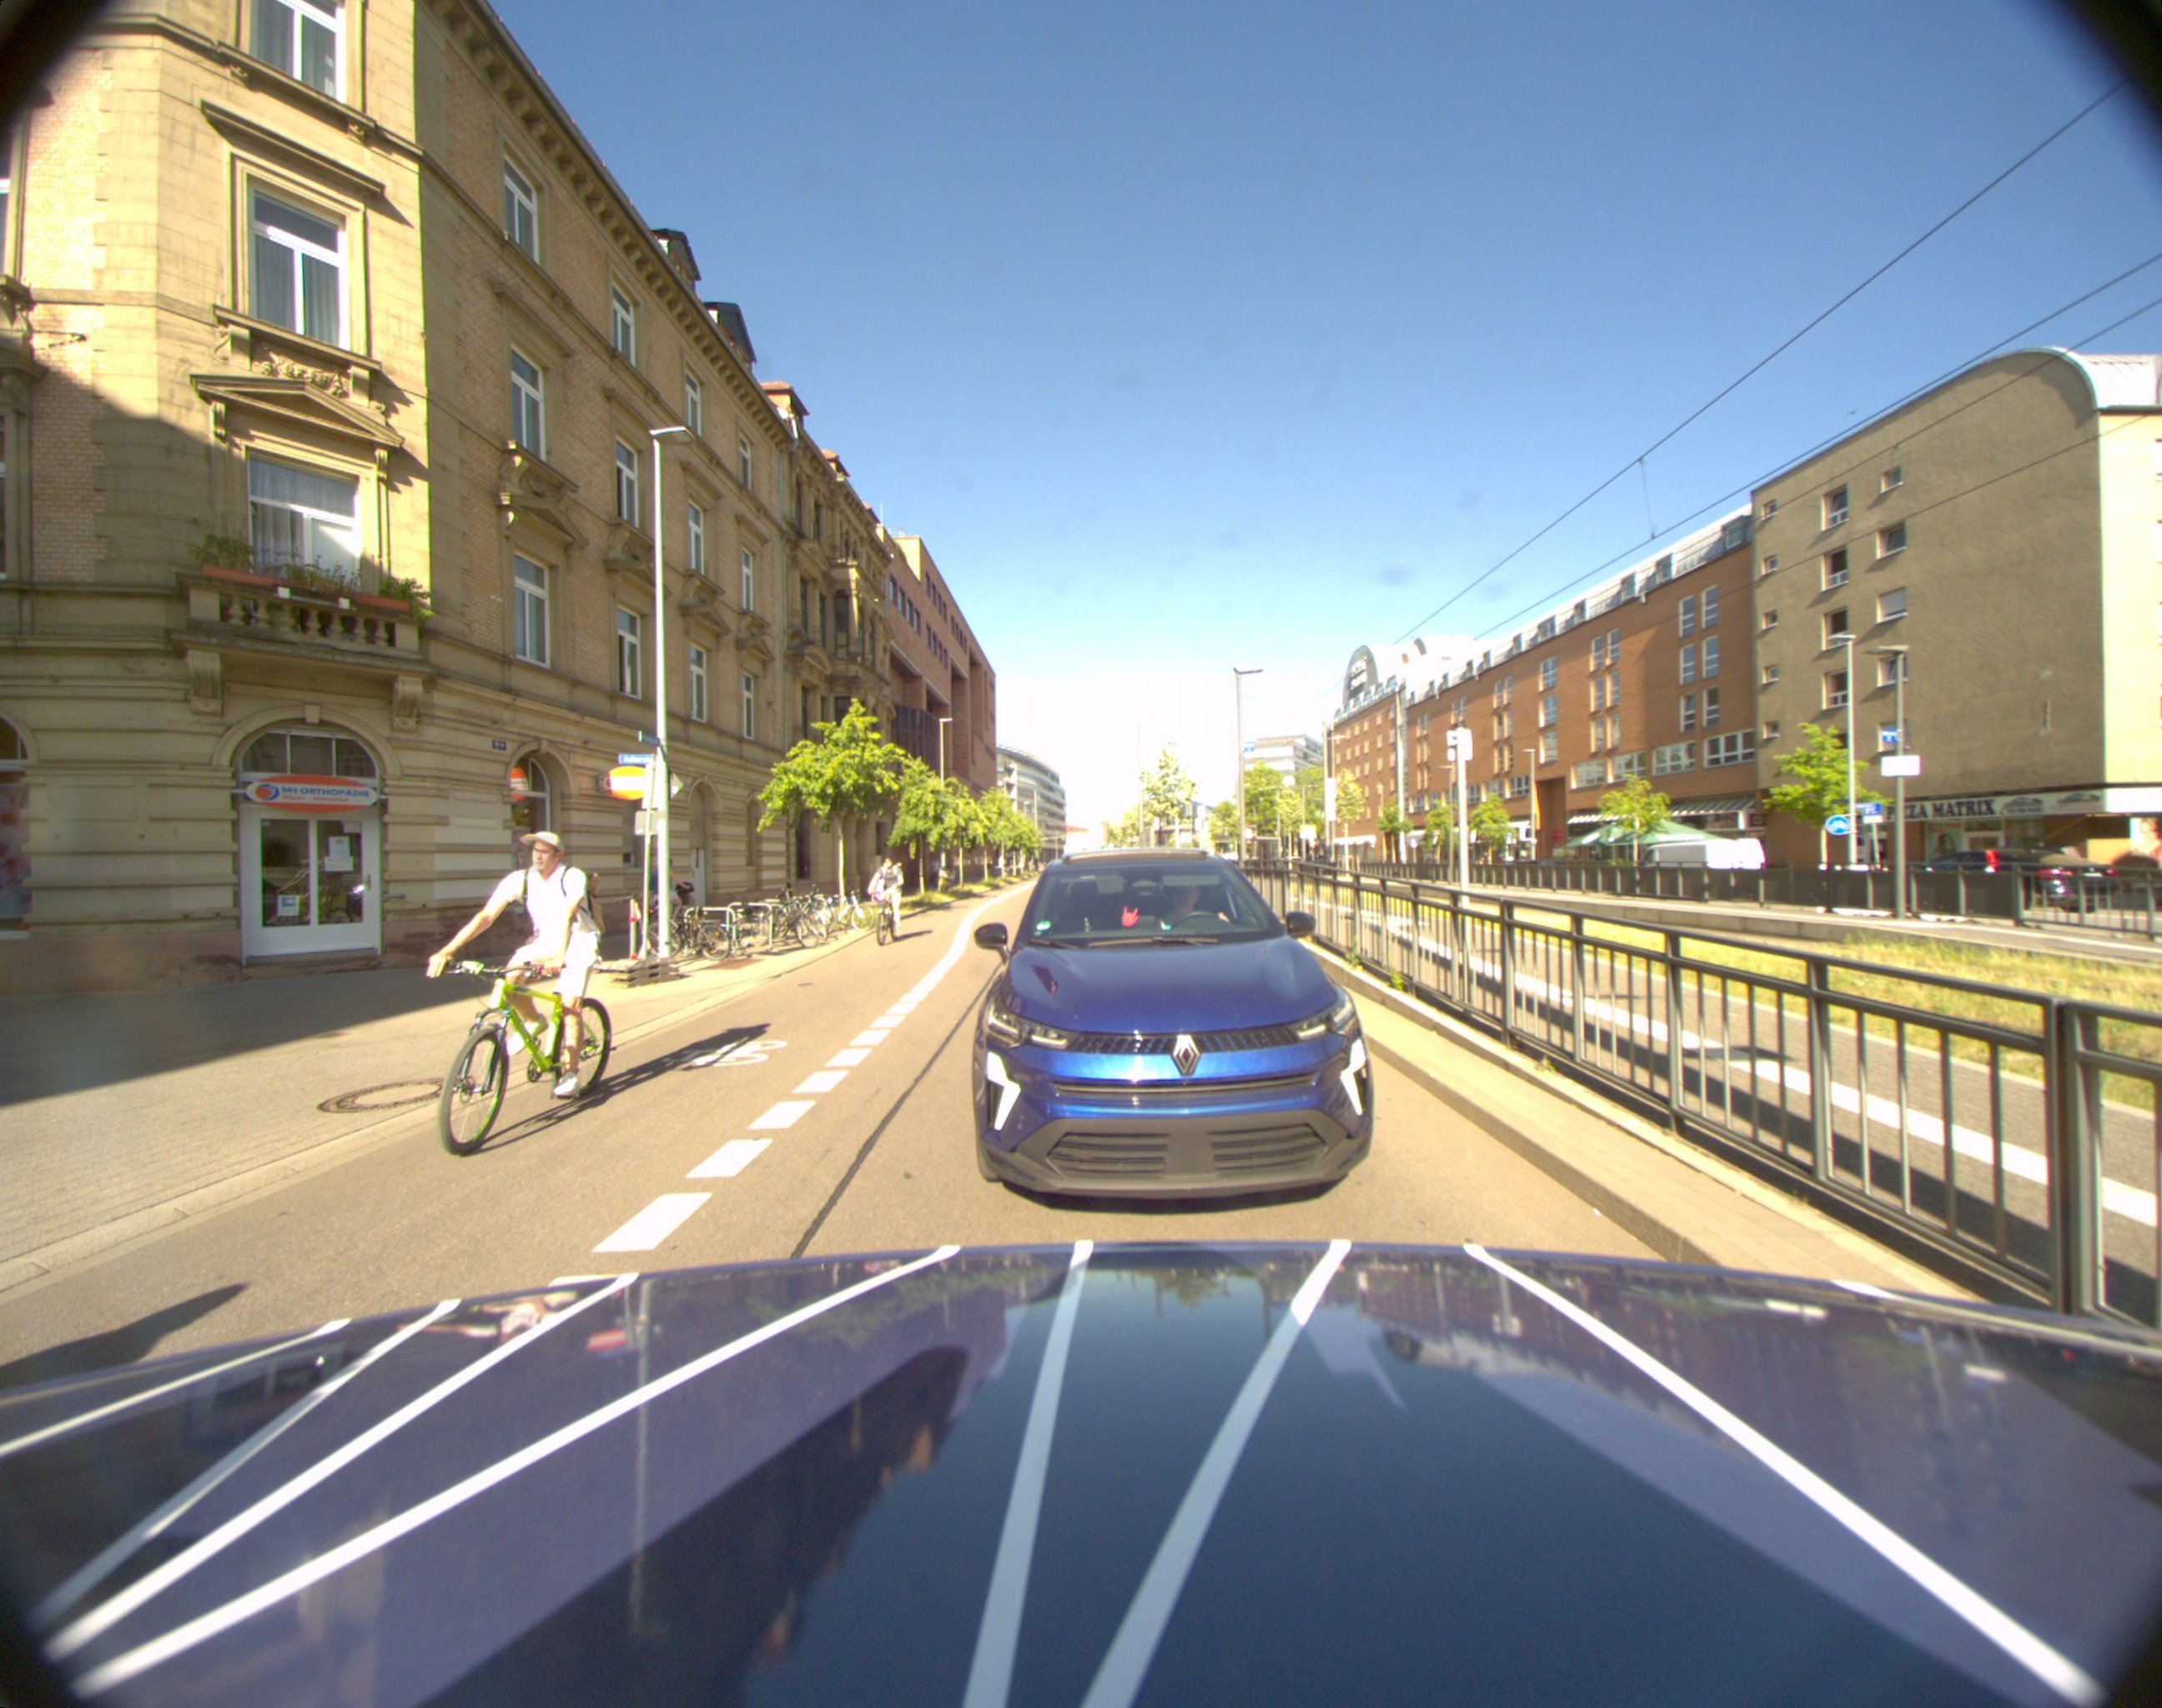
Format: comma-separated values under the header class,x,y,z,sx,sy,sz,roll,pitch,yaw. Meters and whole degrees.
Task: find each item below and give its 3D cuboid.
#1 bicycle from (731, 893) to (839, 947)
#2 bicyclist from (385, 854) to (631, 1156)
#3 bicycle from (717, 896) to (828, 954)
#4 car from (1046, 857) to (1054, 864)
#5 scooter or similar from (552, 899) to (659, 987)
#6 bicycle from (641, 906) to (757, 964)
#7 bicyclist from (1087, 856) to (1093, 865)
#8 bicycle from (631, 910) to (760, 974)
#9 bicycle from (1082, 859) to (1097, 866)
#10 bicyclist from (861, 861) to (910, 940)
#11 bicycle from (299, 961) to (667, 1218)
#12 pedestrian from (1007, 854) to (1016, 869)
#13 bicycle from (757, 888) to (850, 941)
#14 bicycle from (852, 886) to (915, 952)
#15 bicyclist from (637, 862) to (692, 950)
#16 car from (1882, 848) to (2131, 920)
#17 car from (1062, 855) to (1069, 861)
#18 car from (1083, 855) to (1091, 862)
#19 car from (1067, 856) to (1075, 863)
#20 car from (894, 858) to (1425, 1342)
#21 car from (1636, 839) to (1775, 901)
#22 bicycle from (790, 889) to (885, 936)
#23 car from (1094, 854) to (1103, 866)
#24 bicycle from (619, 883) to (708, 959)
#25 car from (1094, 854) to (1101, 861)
class,x,y,z,sx,sy,sz,roll,pitch,yaw
bicycle,-6.275,1.387,16.226,1.903,1.024,1.030,1,1,-2
bicyclist,-3.454,0.837,4.686,0.700,1.647,0.977,-2,0,1
bicycle,-5.941,1.368,14.712,1.876,1.043,0.608,1,1,-4
car,-7.061,1.390,174.325,1.745,1.543,4.000,-1,0,0
scooter or similar,-6.853,1.272,10.985,1.199,1.191,0.487,-1,0,-4
bicycle,-6.584,1.396,13.134,1.717,0.920,0.497,-1,1,1
bicyclist,1.301,0.909,109.173,0.740,1.301,0.637,-1,0,0
bicycle,-6.335,1.433,12.501,1.905,0.906,0.592,1,2,9
bicycle,1.202,1.216,109.157,2.044,1.013,0.646,-1,0,-1
bicyclist,-4.094,0.953,15.950,0.725,1.595,0.895,-2,0,1
bicycle,-3.546,1.327,4.809,0.725,1.000,1.952,-2,0,1
pedestrian,-9.907,1.059,108.296,0.880,2.002,0.764,-1,1,22
bicycle,-6.315,1.362,17.372,1.678,1.055,1.134,3,1,-1
bicycle,-4.082,1.315,15.838,0.725,1.187,1.952,-2,0,1
bicyclist,-7.934,0.967,14.510,0.579,1.608,0.794,-1,1,-2
car,24.209,0.708,20.143,1.699,1.630,3.999,-2,1,-1
car,-3.873,0.967,189.605,1.745,1.543,4.000,-1,0,1
car,1.319,1.089,172.404,1.745,1.543,4.000,-1,0,1
car,-2.216,1.211,173.701,1.745,1.543,4.000,-1,0,1
car,0.304,0.876,4.863,1.758,1.576,4.420,-4,0,1
car,25.333,0.572,31.105,1.997,2.283,5.192,-2,1,9
bicycle,-5.986,1.428,18.774,2.062,1.036,0.847,2,1,0
car,3.595,1.265,158.975,1.758,2.471,4.610,0,0,1
bicycle,-7.939,1.231,14.565,0.579,1.246,2.097,-1,1,-2
car,4.000,0.830,186.248,1.745,1.543,4.000,-1,0,0
